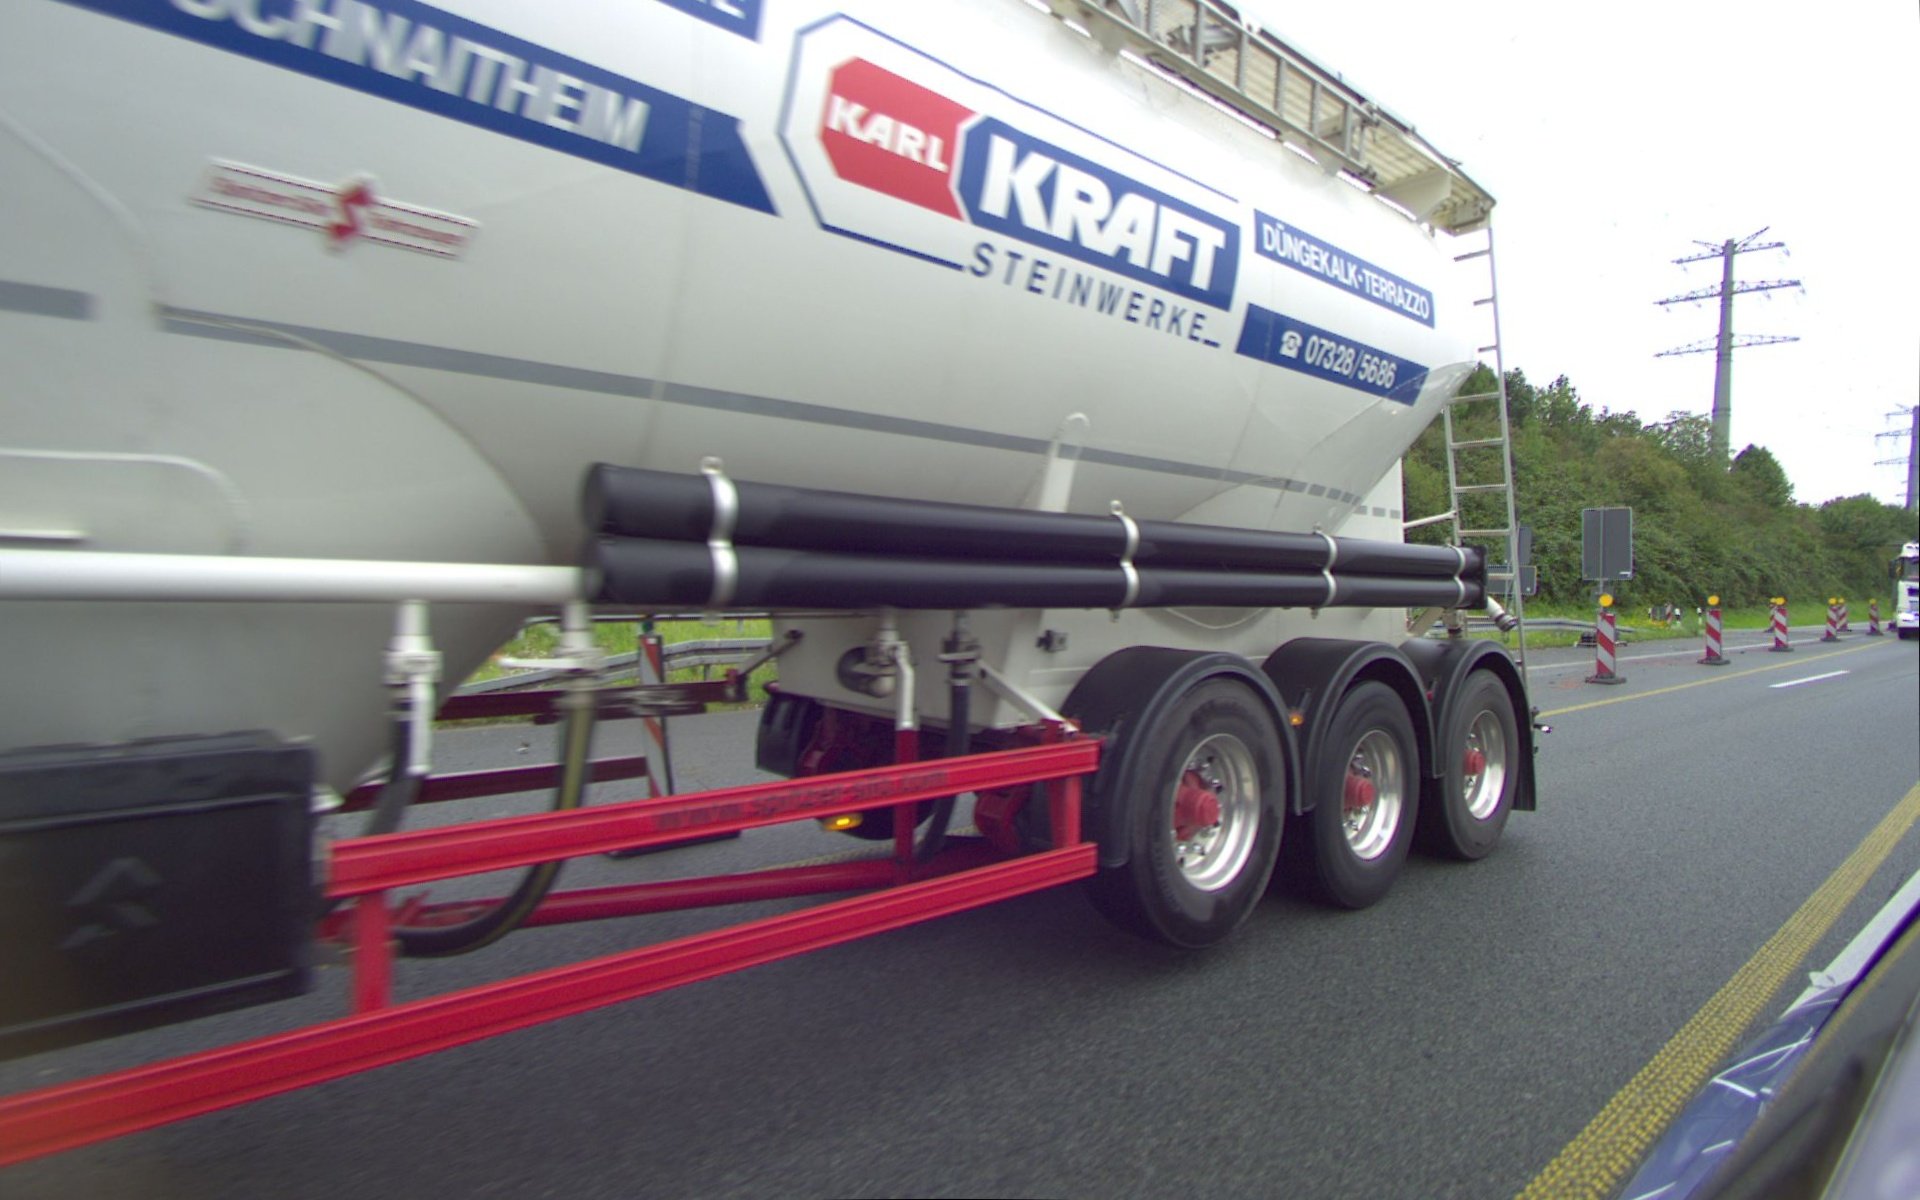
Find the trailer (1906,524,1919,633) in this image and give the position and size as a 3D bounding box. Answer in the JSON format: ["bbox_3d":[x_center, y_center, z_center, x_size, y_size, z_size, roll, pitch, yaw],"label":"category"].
[{"bbox_3d":[41.794,-0.905,41.669,13.904,4.053,2.806,-1,1,-41],"label":"trailer"}]

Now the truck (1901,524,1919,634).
[{"bbox_3d":[37.260,-0.800,37.682,5.304,3.984,2.746,-1,1,-41],"label":"truck"}]

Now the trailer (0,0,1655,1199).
[{"bbox_3d":[-0.882,-0.850,3.598,12.135,3.882,2.524,-1,1,-41],"label":"trailer"}]
